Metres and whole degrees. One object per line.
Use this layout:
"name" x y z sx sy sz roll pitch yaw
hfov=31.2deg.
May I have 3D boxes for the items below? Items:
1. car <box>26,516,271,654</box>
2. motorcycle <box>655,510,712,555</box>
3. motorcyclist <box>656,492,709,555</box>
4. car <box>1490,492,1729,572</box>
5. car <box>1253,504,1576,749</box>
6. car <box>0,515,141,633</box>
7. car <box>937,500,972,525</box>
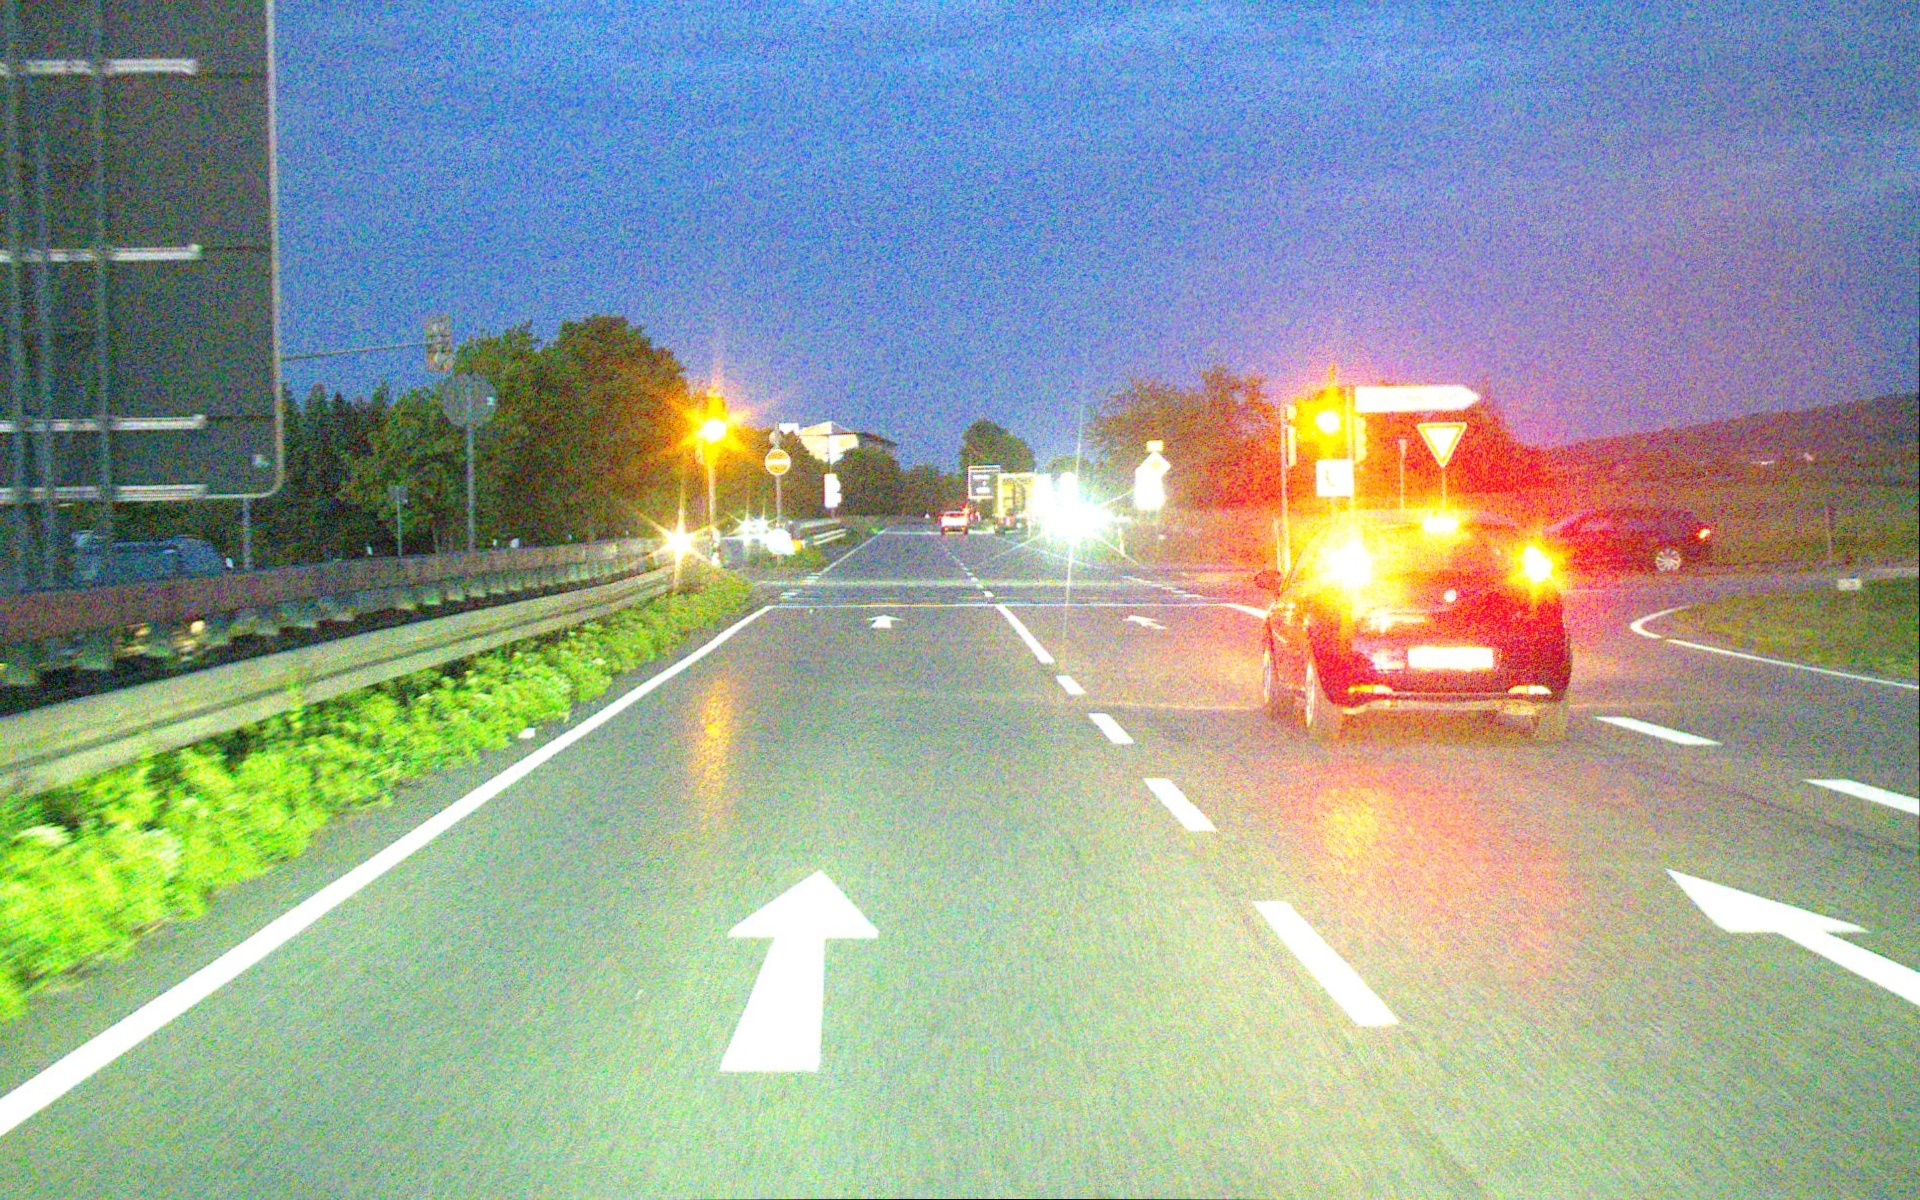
"car" -9.300 -0.218 39.749 1.920 1.427 4.502 -2 2 -3
"motorcycle" -7.097 -1.736 88.509 0.979 1.095 2.508 -1 2 6
"motorcyclist" -7.128 -1.981 88.392 1.137 1.579 0.972 -1 2 7
"car" 13.594 -1.431 72.113 4.600 1.515 2.000 -2 2 0
"car" 2.988 0.109 23.343 1.670 1.515 4.106 0 1 0
"car" -13.556 -0.426 51.283 1.794 1.665 4.502 0 1 -3
"car" -0.399 -6.007 235.964 2.273 1.626 4.001 -1 2 -2
